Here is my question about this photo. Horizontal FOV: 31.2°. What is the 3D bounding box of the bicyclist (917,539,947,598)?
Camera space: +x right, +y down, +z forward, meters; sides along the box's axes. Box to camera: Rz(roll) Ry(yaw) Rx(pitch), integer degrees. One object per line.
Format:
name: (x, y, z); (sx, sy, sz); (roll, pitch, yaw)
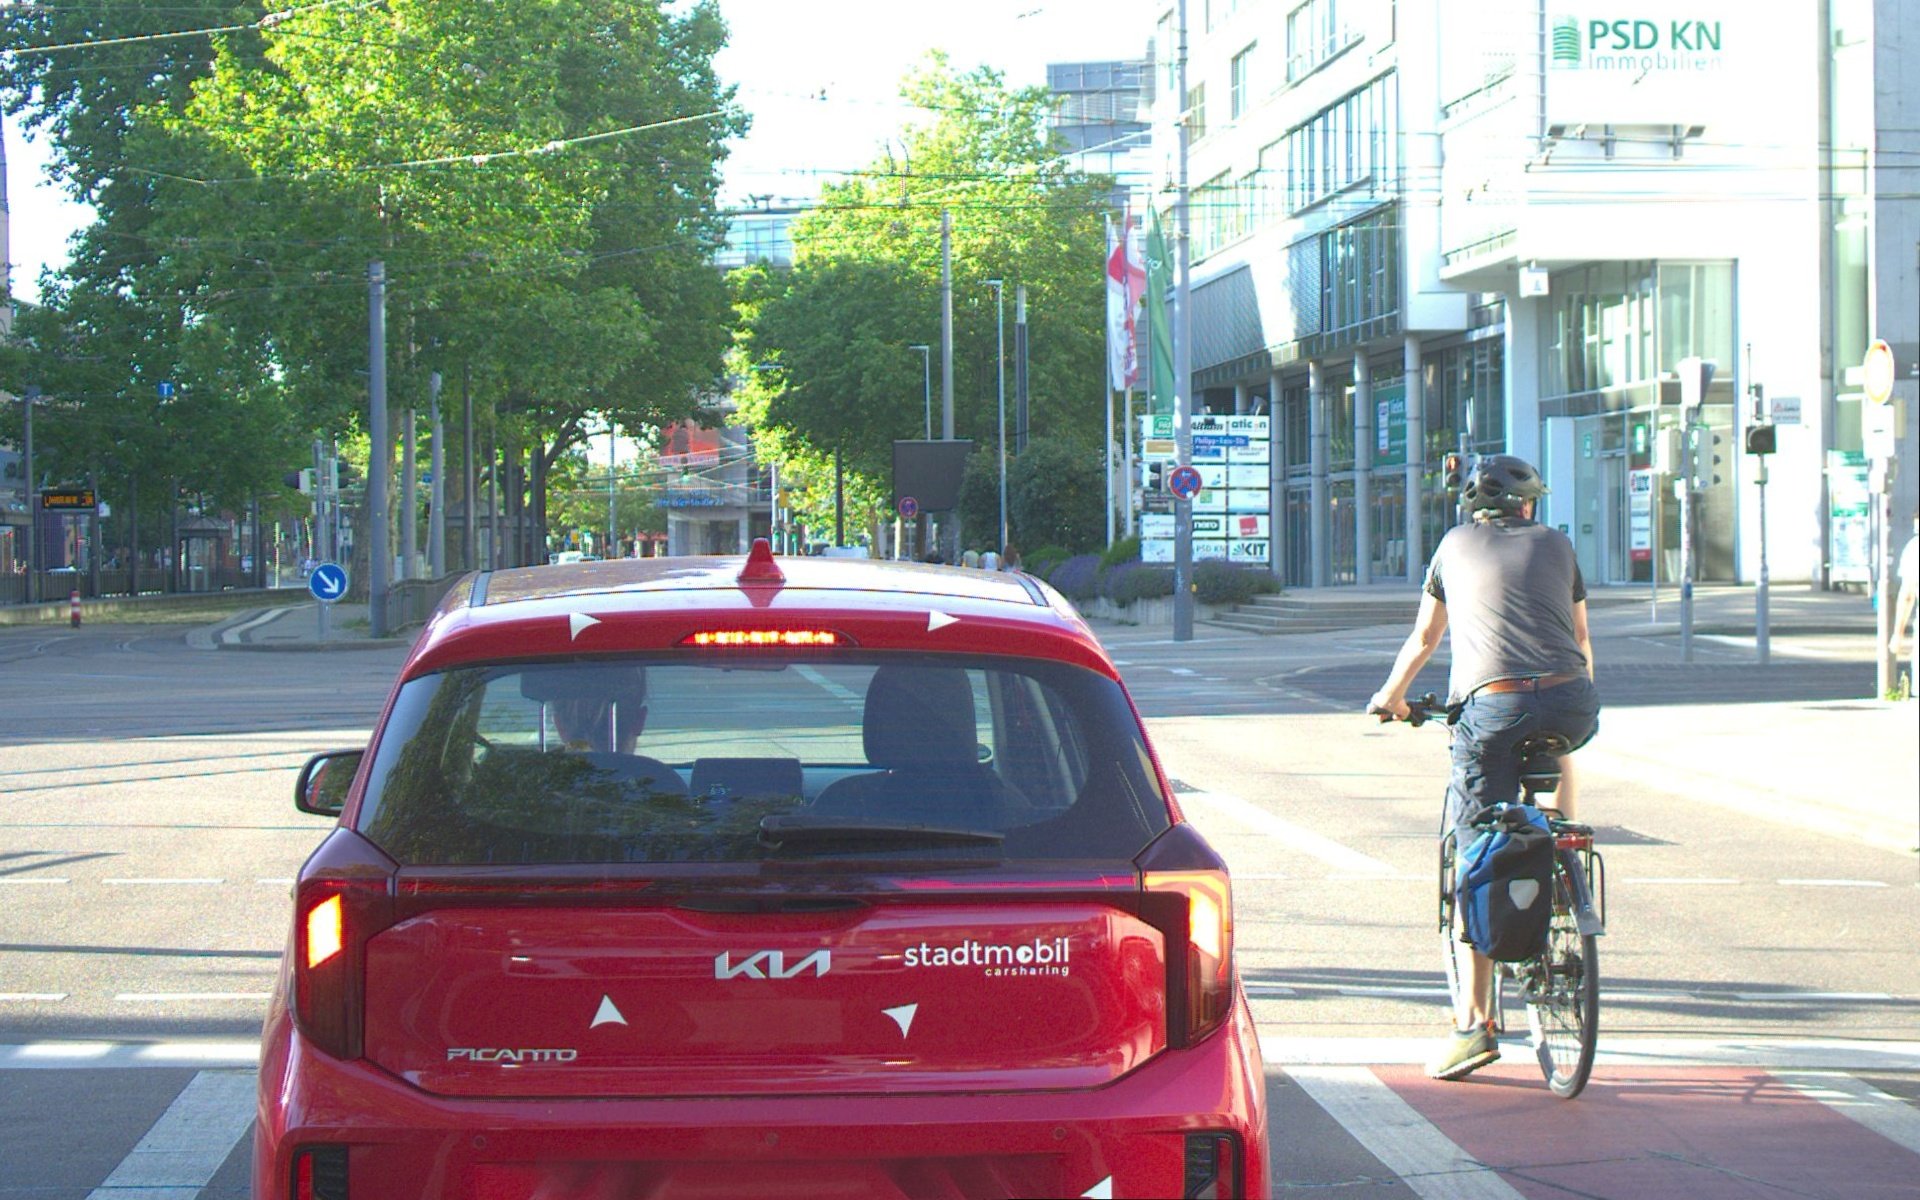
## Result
bicyclist: (-0.777, -0.876, 95.801); (0.722, 1.597, 1.089); (-3, 1, 2)

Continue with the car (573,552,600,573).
car: (-27.834, -2.828, 255.836); (1.777, 1.529, 3.413); (0, 1, -10)

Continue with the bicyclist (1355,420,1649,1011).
bicyclist: (1.536, 0.305, 9.888); (0.650, 1.597, 1.089); (-1, 1, -1)

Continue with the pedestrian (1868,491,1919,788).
pedestrian: (6.241, 0.228, 21.502); (0.777, 1.817, 1.216); (-1, 1, -1)

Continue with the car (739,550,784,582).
car: (-9.680, -1.660, 167.629); (1.777, 1.529, 3.513); (0, 1, -10)

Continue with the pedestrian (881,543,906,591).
pedestrian: (-2.268, -1.135, 117.024); (0.641, 1.574, 0.723); (-4, 1, -7)

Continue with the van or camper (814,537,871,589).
van or camper: (-4.539, -1.421, 132.293); (1.993, 1.982, 4.745); (0, 1, -4)

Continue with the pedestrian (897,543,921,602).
pedestrian: (-1.443, -0.785, 97.460); (0.646, 1.674, 0.651); (-1, 1, 1)

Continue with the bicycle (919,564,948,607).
bicycle: (-0.738, -0.415, 95.976); (0.696, 1.094, 1.751); (-4, 2, 1)

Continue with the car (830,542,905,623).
car: (-2.158, -0.425, 79.607); (1.635, 1.794, 3.330); (-1, 1, -3)

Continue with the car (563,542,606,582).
car: (-19.189, -1.940, 175.587); (1.993, 2.007, 4.001); (-1, 1, -8)

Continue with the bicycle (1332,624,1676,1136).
bicycle: (1.521, 0.736, 9.918); (0.650, 1.276, 1.966); (-1, 1, -1)

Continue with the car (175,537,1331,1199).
car: (-0.433, 0.652, 6.515); (1.613, 1.529, 3.412); (0, 1, -5)
